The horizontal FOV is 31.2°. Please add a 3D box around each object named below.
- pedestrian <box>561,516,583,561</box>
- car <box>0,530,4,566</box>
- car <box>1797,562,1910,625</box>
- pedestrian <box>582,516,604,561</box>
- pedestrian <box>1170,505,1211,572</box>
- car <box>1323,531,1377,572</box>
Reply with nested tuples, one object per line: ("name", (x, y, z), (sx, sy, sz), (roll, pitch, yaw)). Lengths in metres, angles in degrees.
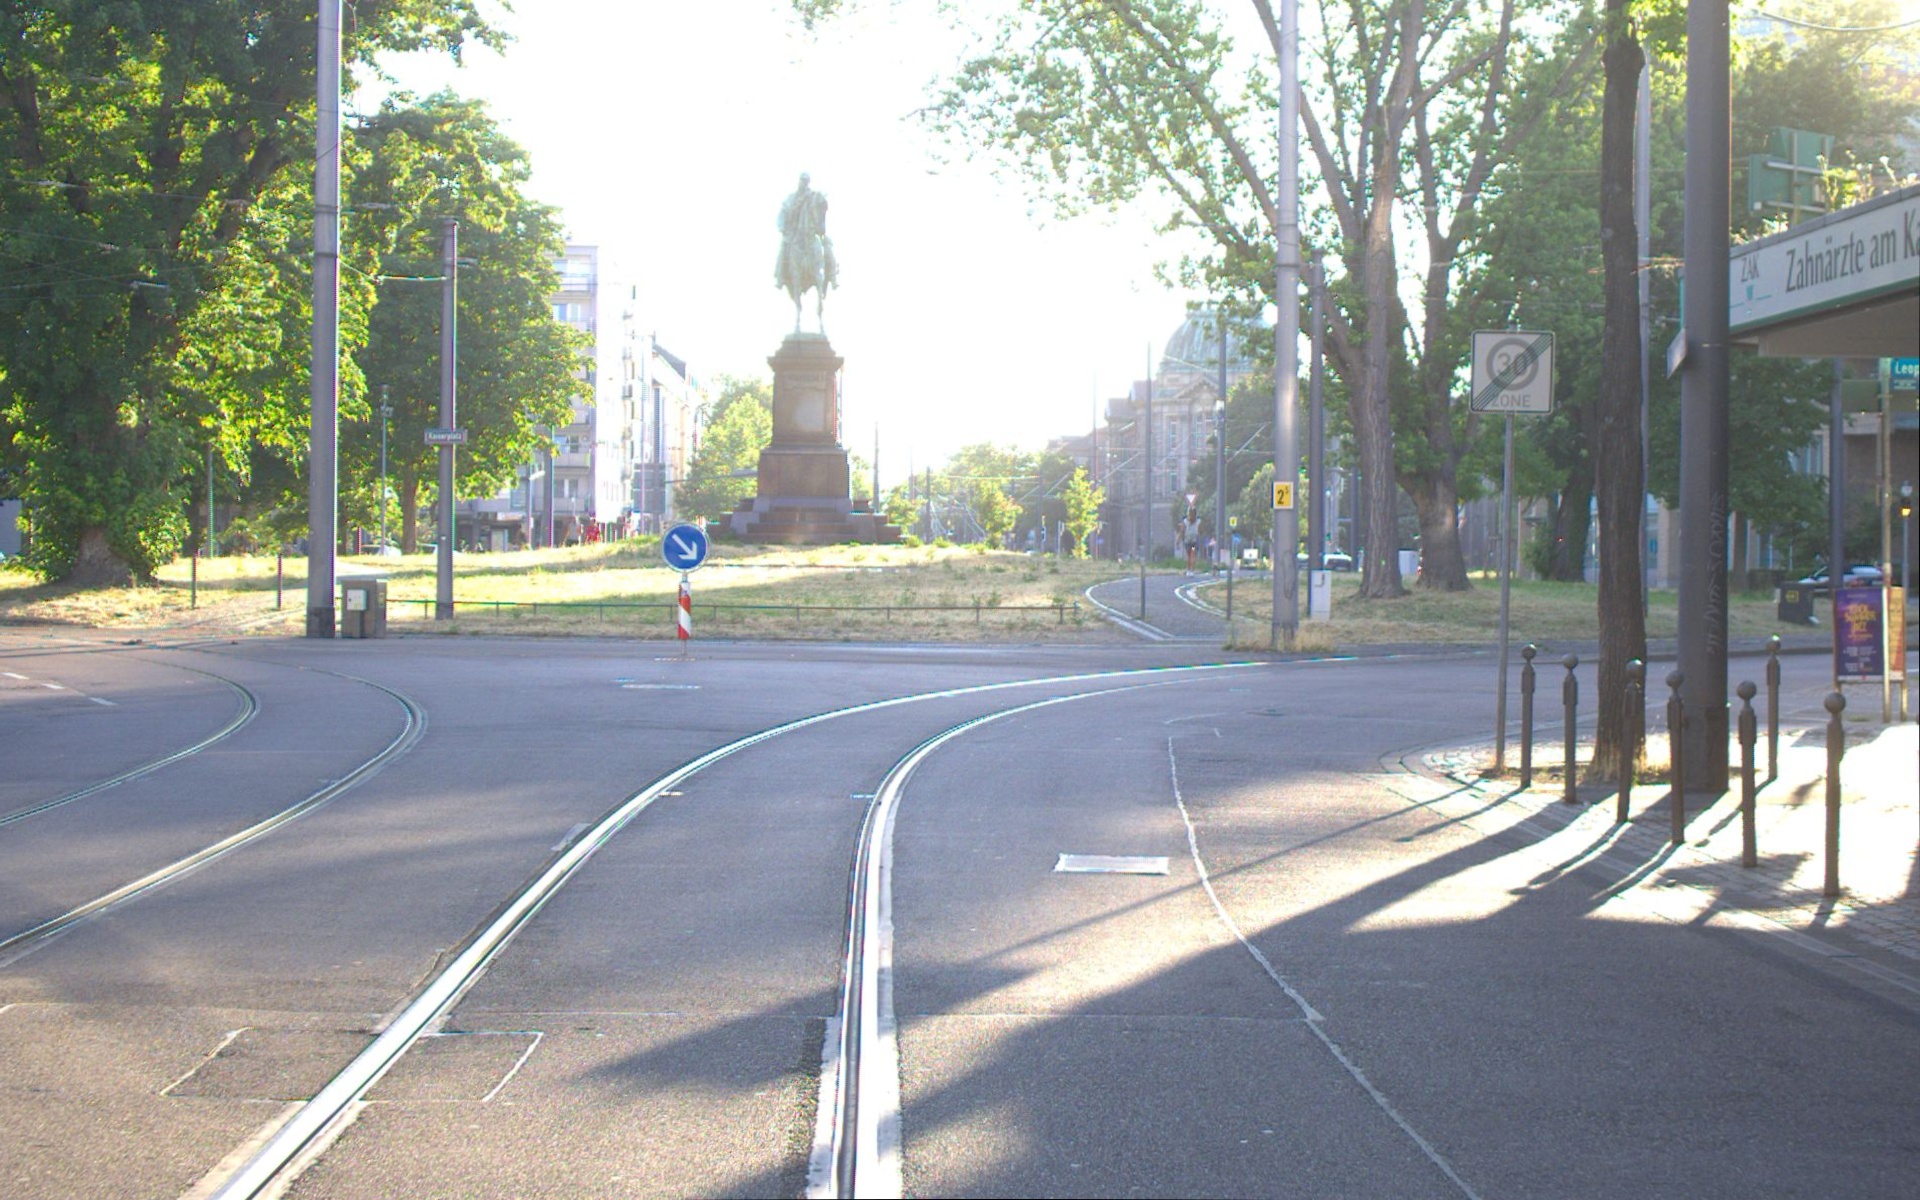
("pedestrian", (-13.916, -2.217, 123.425), (0.769, 1.600, 0.638), (0, 1, -8))
("car", (-38.310, -2.002, 132.329), (1.877, 1.415, 3.925), (0, 1, 1))
("car", (29.088, -0.227, 112.000), (1.993, 1.963, 4.001), (0, 1, -11))
("pedestrian", (-13.123, -2.203, 122.949), (0.769, 1.600, 0.638), (0, 1, -8))
("pedestrian", (5.507, -1.471, 82.131), (0.769, 1.600, 0.638), (-1, 2, -44))
("car", (19.695, -2.445, 173.657), (2.138, 2.007, 4.000), (1, 1, -1))
